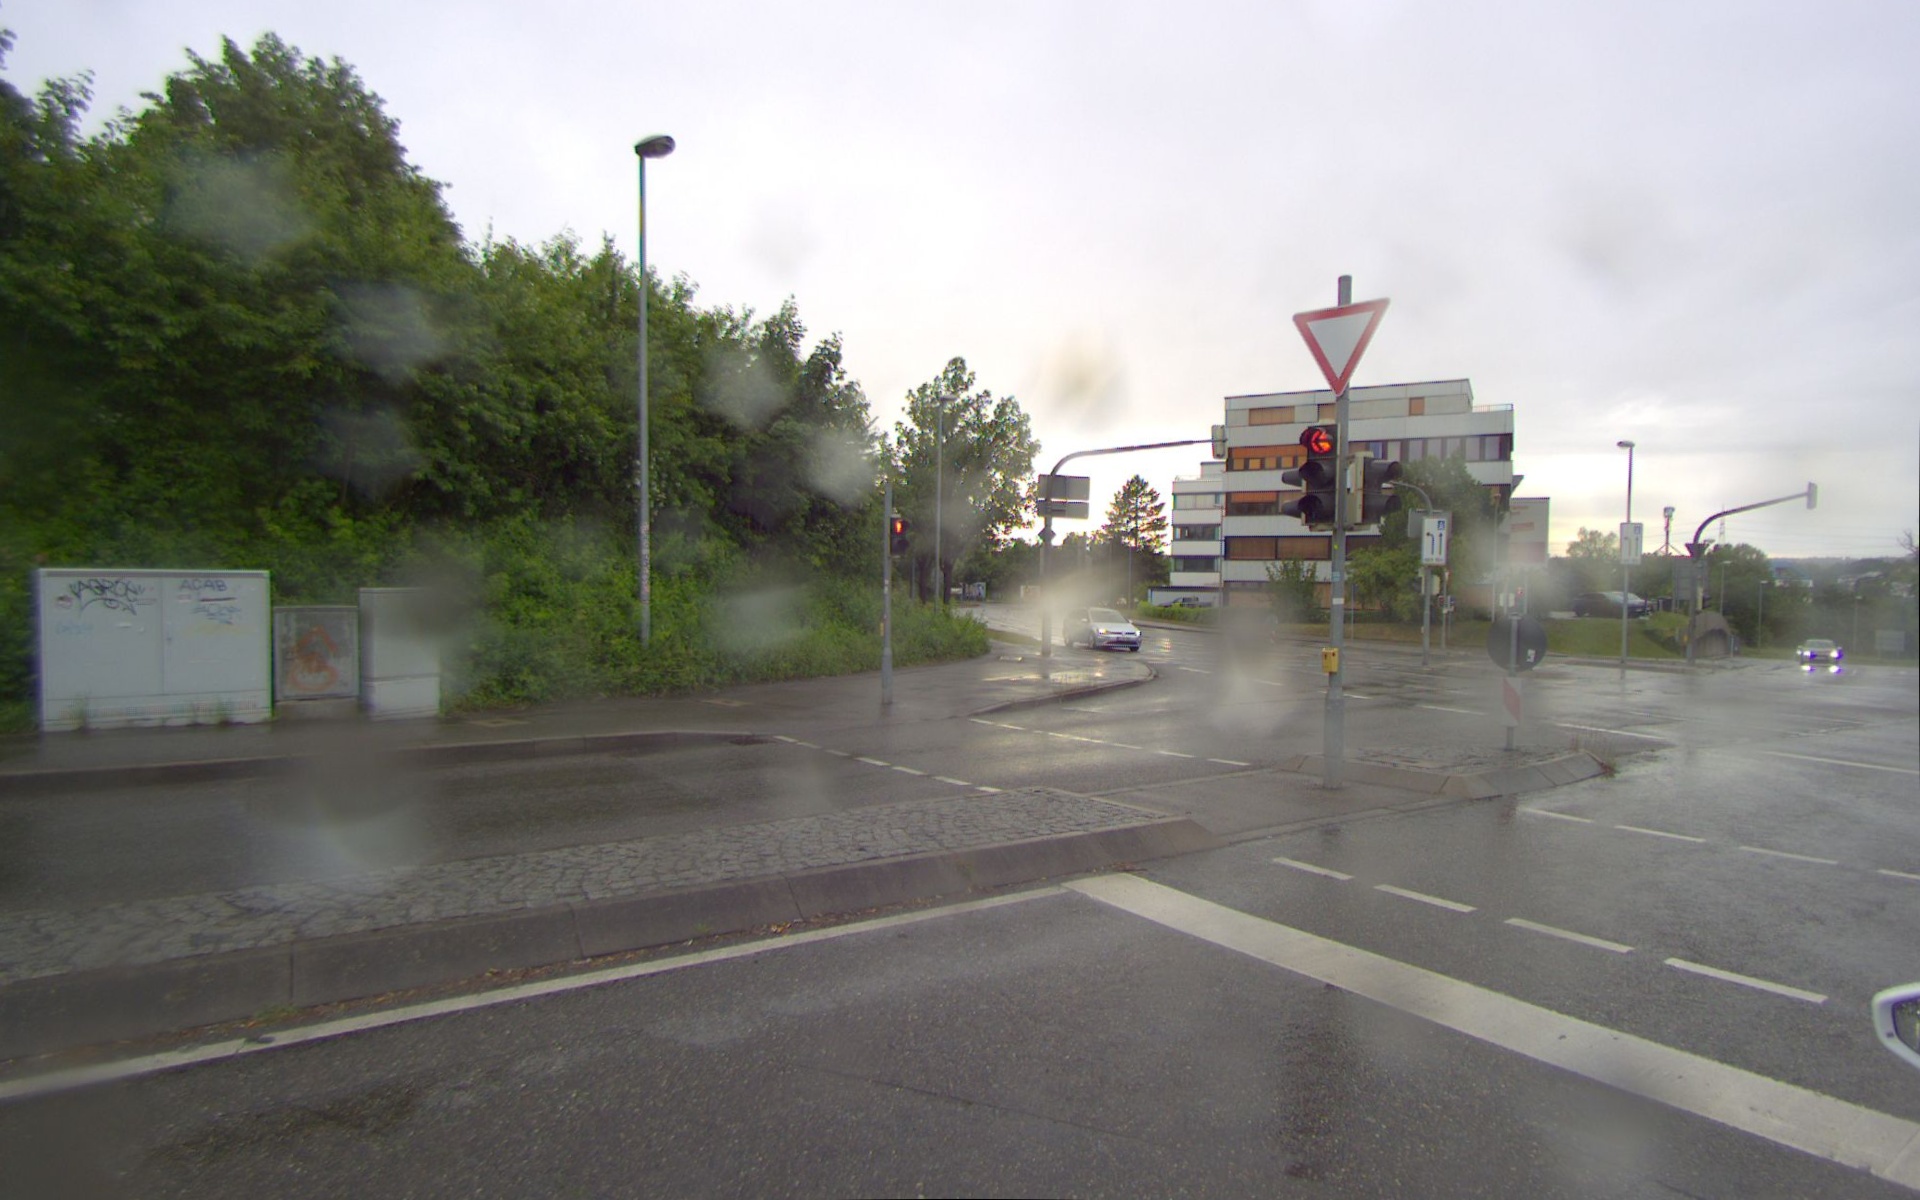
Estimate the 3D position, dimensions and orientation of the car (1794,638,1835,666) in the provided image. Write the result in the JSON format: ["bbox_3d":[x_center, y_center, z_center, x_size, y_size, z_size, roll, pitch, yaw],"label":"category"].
[{"bbox_3d":[50.049,3.007,58.857,1.641,1.514,3.984,2,-1,38],"label":"car"}]

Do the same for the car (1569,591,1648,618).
[{"bbox_3d":[42.429,0.295,65.803,1.874,1.607,3.981,4,0,-21],"label":"car"}]

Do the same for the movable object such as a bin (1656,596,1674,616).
[{"bbox_3d":[55.718,0.489,79.382,1.069,1.456,1.443,3,0,34],"label":"movable object such as a bin"}]

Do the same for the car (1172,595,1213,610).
[{"bbox_3d":[22.271,0.231,96.253,3.686,1.418,2.000,1,1,19],"label":"car"}]

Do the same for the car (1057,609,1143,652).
[{"bbox_3d":[5.006,1.068,36.614,1.731,1.381,4.523,2,0,-11],"label":"car"}]

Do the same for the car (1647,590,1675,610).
[{"bbox_3d":[61.062,0.002,87.522,1.802,1.461,3.990,3,-1,33],"label":"car"}]

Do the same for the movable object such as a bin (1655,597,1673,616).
[{"bbox_3d":[56.523,0.519,80.610,1.069,1.456,1.443,3,0,34],"label":"movable object such as a bin"}]

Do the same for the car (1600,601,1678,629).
[{"bbox_3d":[44.863,0.960,66.468,1.872,1.607,3.985,4,0,-17],"label":"car"}]
